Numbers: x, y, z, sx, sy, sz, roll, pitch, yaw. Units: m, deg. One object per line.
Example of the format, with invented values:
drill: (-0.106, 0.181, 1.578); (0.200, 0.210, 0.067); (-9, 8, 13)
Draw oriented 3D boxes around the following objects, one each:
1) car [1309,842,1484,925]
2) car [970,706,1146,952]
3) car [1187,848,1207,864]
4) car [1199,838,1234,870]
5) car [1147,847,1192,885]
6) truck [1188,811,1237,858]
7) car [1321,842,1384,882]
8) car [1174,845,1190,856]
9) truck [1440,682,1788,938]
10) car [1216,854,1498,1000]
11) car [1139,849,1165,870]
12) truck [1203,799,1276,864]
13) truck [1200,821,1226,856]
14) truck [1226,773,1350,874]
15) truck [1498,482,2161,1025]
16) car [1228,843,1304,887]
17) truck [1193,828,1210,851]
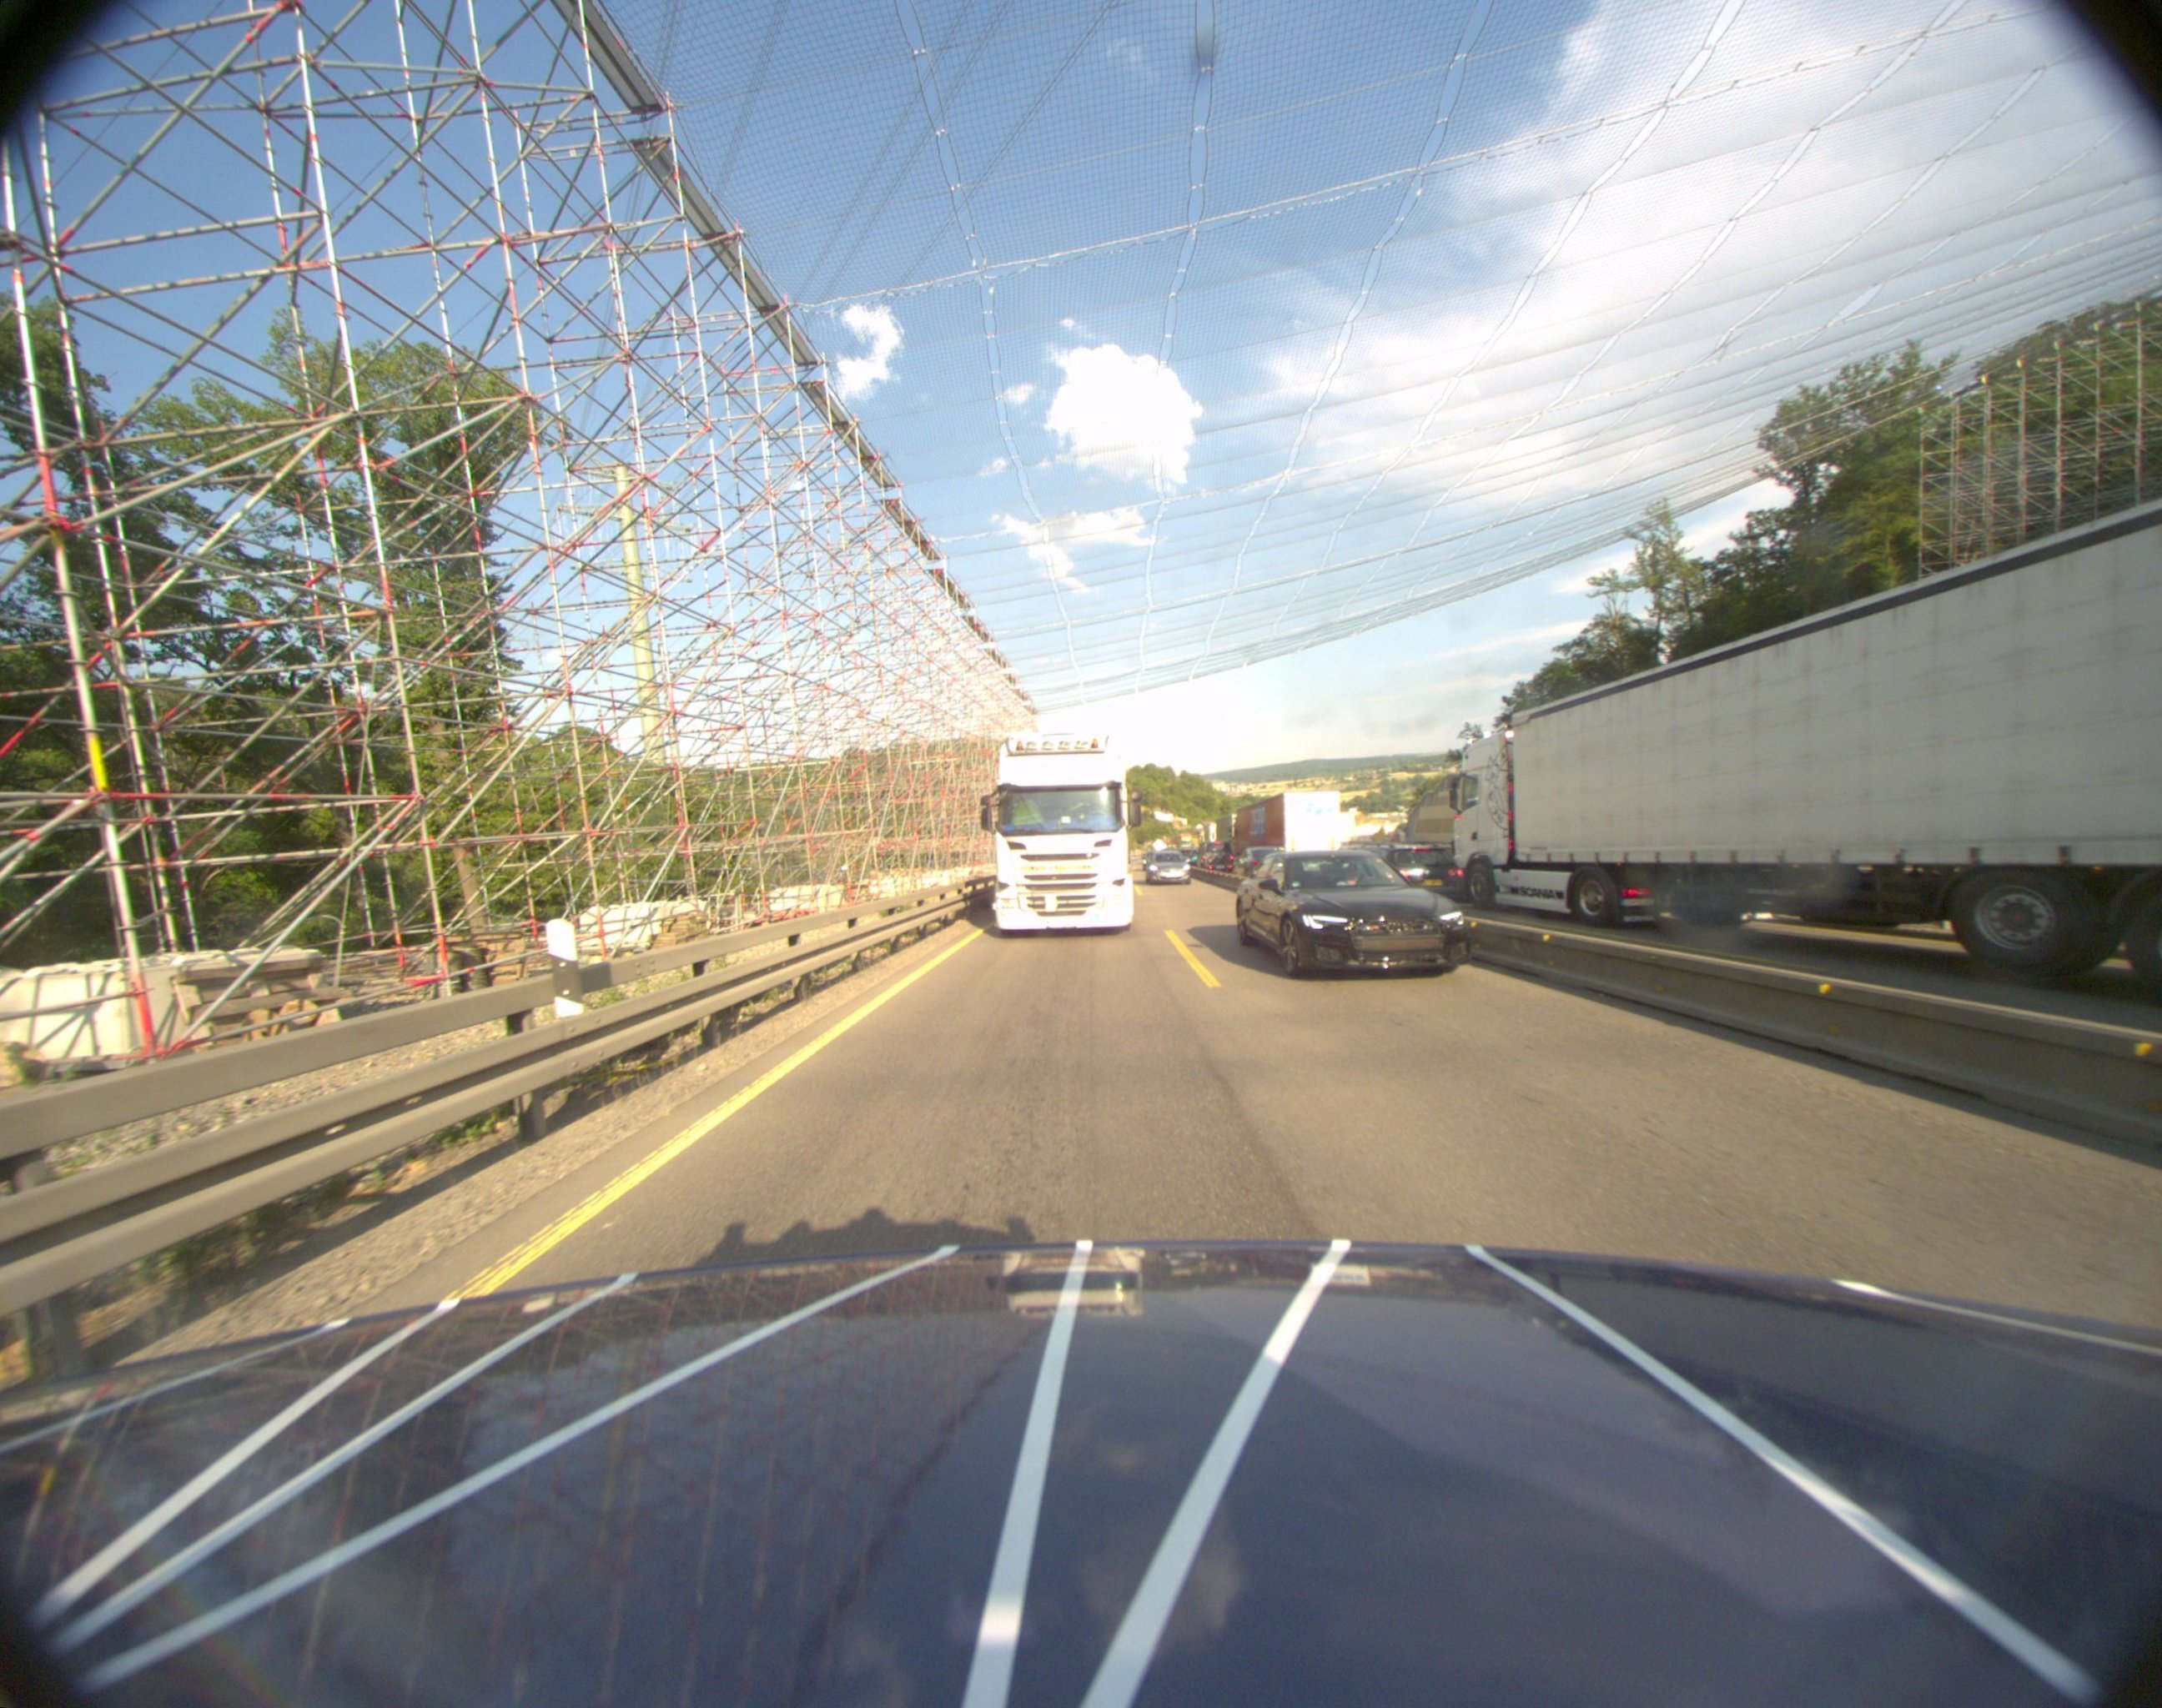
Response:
car: (6.740, 0.537, 16.873); (1.939, 1.525, 4.645); (-2, 1, 0)
car: (-0.254, -0.469, 17.120); (2.858, 4.092, 8.280); (-2, 1, 2)
car: (8.786, 0.149, 57.543); (1.166, 1.107, 2.727); (-2, 1, 3)
car: (8.146, -0.035, 45.738); (1.726, 1.816, 3.293); (-2, 1, 5)
car: (3.790, 0.486, 33.199); (1.759, 1.464, 4.354); (-2, 1, 4)
truck: (14.202, -2.039, 83.475); (2.994, 4.532, 17.407); (-2, 1, 3)
car: (10.436, 0.285, 29.417); (1.371, 1.407, 3.293); (-2, 1, 3)
car: (11.738, -0.378, 88.468); (1.402, 1.227, 3.292); (-2, 1, 1)
truck: (9.723, -0.718, 14.841); (2.522, 3.885, 6.048); (-2, 1, 0)
car: (3.247, 0.740, 10.190); (1.939, 1.390, 4.960); (-2, 0, 0)
car: (5.123, 0.392, 55.453); (1.764, 1.376, 3.823); (-2, 1, 4)
truck: (12.560, -1.693, 62.329); (2.994, 4.532, 17.407); (-2, 1, 3)
truck: (20.079, -2.331, 116.254); (3.166, 4.817, 14.364); (-2, 1, 8)
truck: (11.189, -1.507, 43.608); (2.994, 4.532, 17.407); (-2, 1, 3)
truck: (9.762, -0.837, 8.200); (2.728, 4.202, 14.166); (-2, 1, 0)
car: (7.191, 0.372, 30.017); (1.939, 1.510, 4.978); (-2, 1, 3)
truck: (26.095, -3.118, 165.191); (3.166, 4.817, 14.364); (-2, 1, 8)
